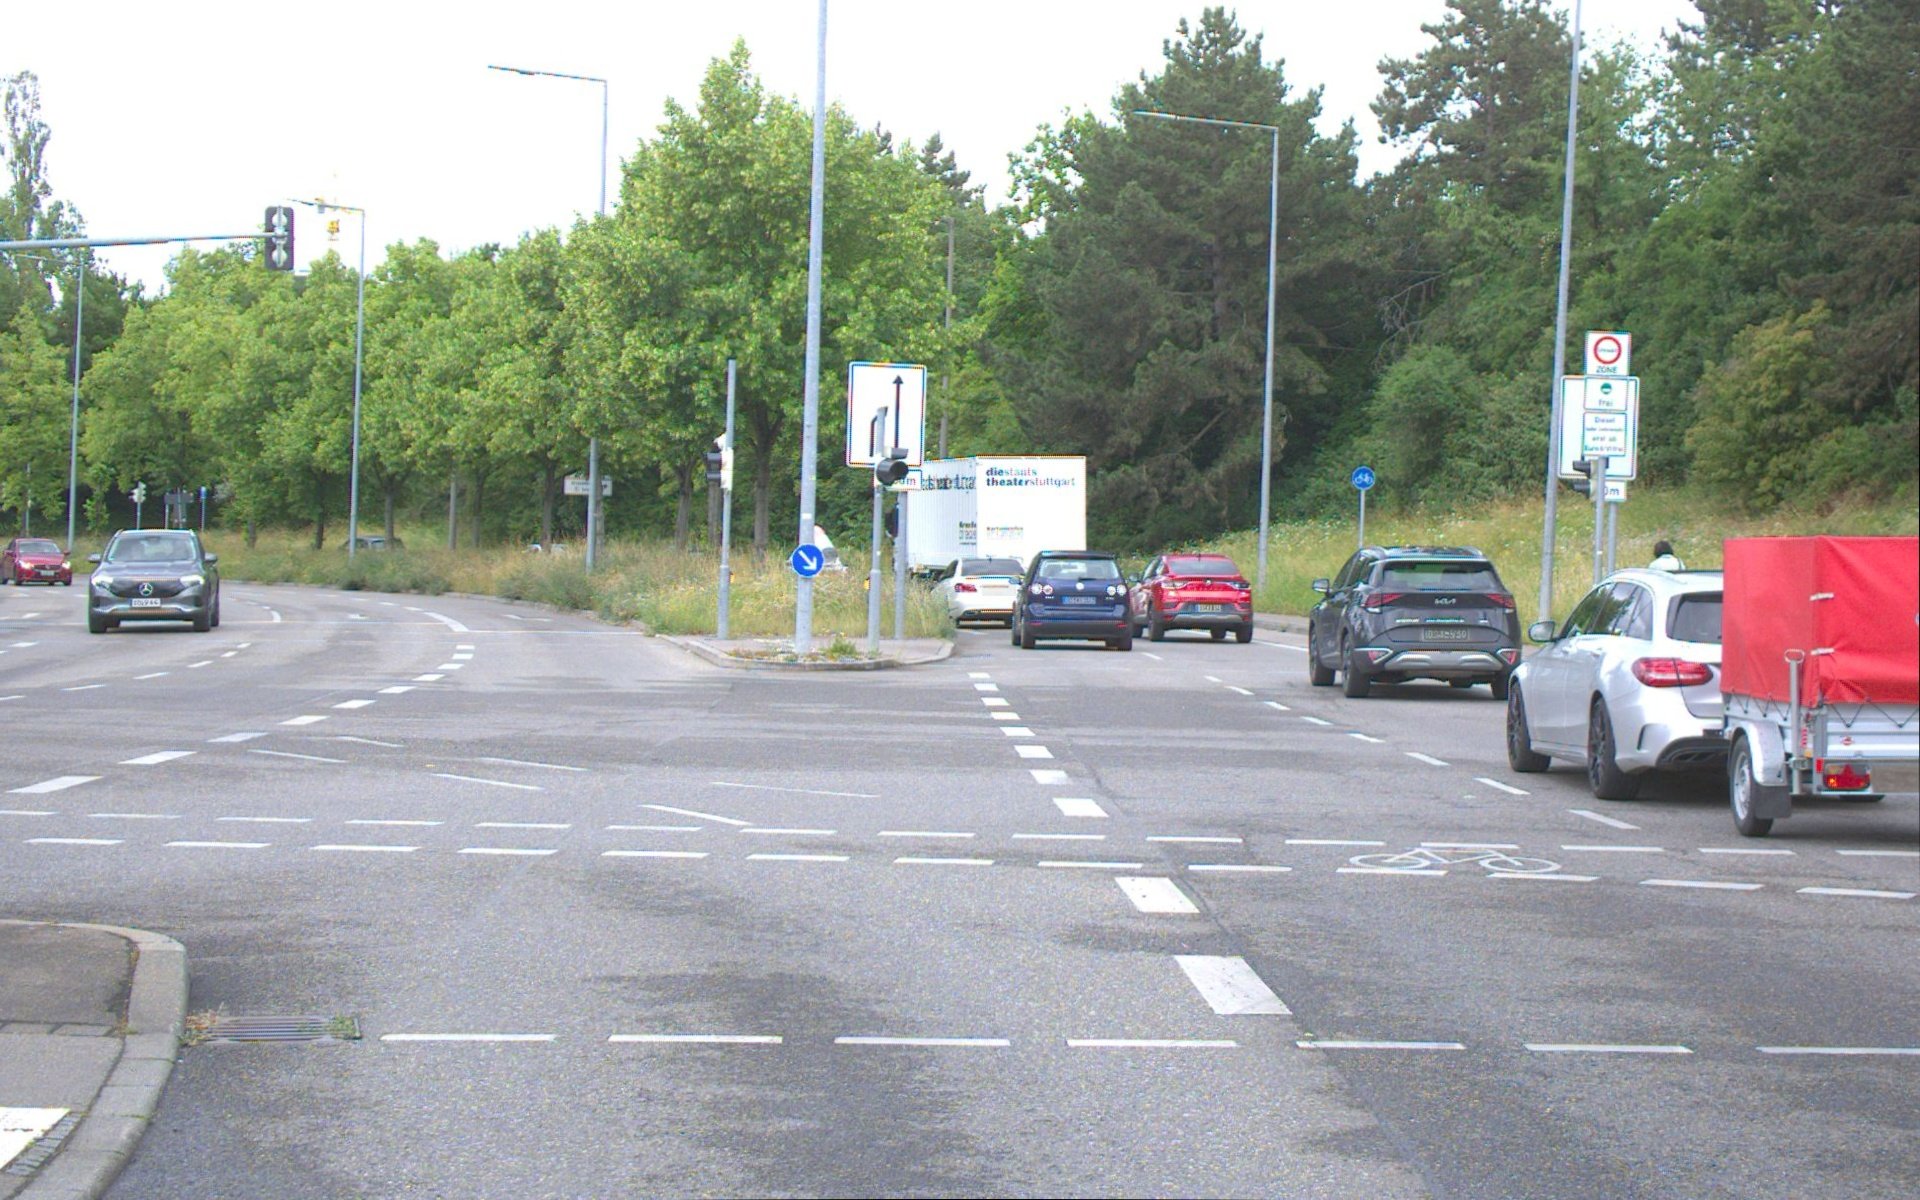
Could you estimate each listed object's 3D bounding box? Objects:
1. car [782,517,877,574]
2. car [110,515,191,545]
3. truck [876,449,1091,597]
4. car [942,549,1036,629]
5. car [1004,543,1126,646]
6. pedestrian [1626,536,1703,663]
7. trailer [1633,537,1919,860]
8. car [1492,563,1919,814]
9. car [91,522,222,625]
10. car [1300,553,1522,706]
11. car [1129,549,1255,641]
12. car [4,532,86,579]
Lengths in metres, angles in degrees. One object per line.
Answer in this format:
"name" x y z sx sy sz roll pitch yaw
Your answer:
"car" -3.727 -1.557 97.570 1.777 1.541 4.026 0 1 -16
"car" -41.639 -3.590 176.852 1.781 1.541 4.018 1 1 30
"truck" 0.405 -1.881 83.437 2.739 3.317 11.410 0 1 -12
"car" 0.572 -0.250 70.961 1.778 1.541 4.025 1 1 -2
"car" 1.715 -0.113 54.797 1.778 1.541 4.024 1 1 4
"pedestrian" 9.206 -0.012 44.950 0.814 1.622 0.791 1 1 -1
"trailer" 4.931 0.479 18.894 1.764 1.610 3.044 1 1 -2
"car" 4.815 0.505 22.641 1.778 1.416 4.459 1 1 -2
"car" -12.712 -0.445 54.582 1.777 1.541 4.226 1 1 -10
"car" 4.918 0.281 37.992 1.778 1.541 4.025 1 1 -2
"car" 4.126 -0.110 61.693 1.778 1.541 4.025 1 1 -3
"car" -28.601 -1.409 107.375 1.780 1.438 4.426 0 1 -24
